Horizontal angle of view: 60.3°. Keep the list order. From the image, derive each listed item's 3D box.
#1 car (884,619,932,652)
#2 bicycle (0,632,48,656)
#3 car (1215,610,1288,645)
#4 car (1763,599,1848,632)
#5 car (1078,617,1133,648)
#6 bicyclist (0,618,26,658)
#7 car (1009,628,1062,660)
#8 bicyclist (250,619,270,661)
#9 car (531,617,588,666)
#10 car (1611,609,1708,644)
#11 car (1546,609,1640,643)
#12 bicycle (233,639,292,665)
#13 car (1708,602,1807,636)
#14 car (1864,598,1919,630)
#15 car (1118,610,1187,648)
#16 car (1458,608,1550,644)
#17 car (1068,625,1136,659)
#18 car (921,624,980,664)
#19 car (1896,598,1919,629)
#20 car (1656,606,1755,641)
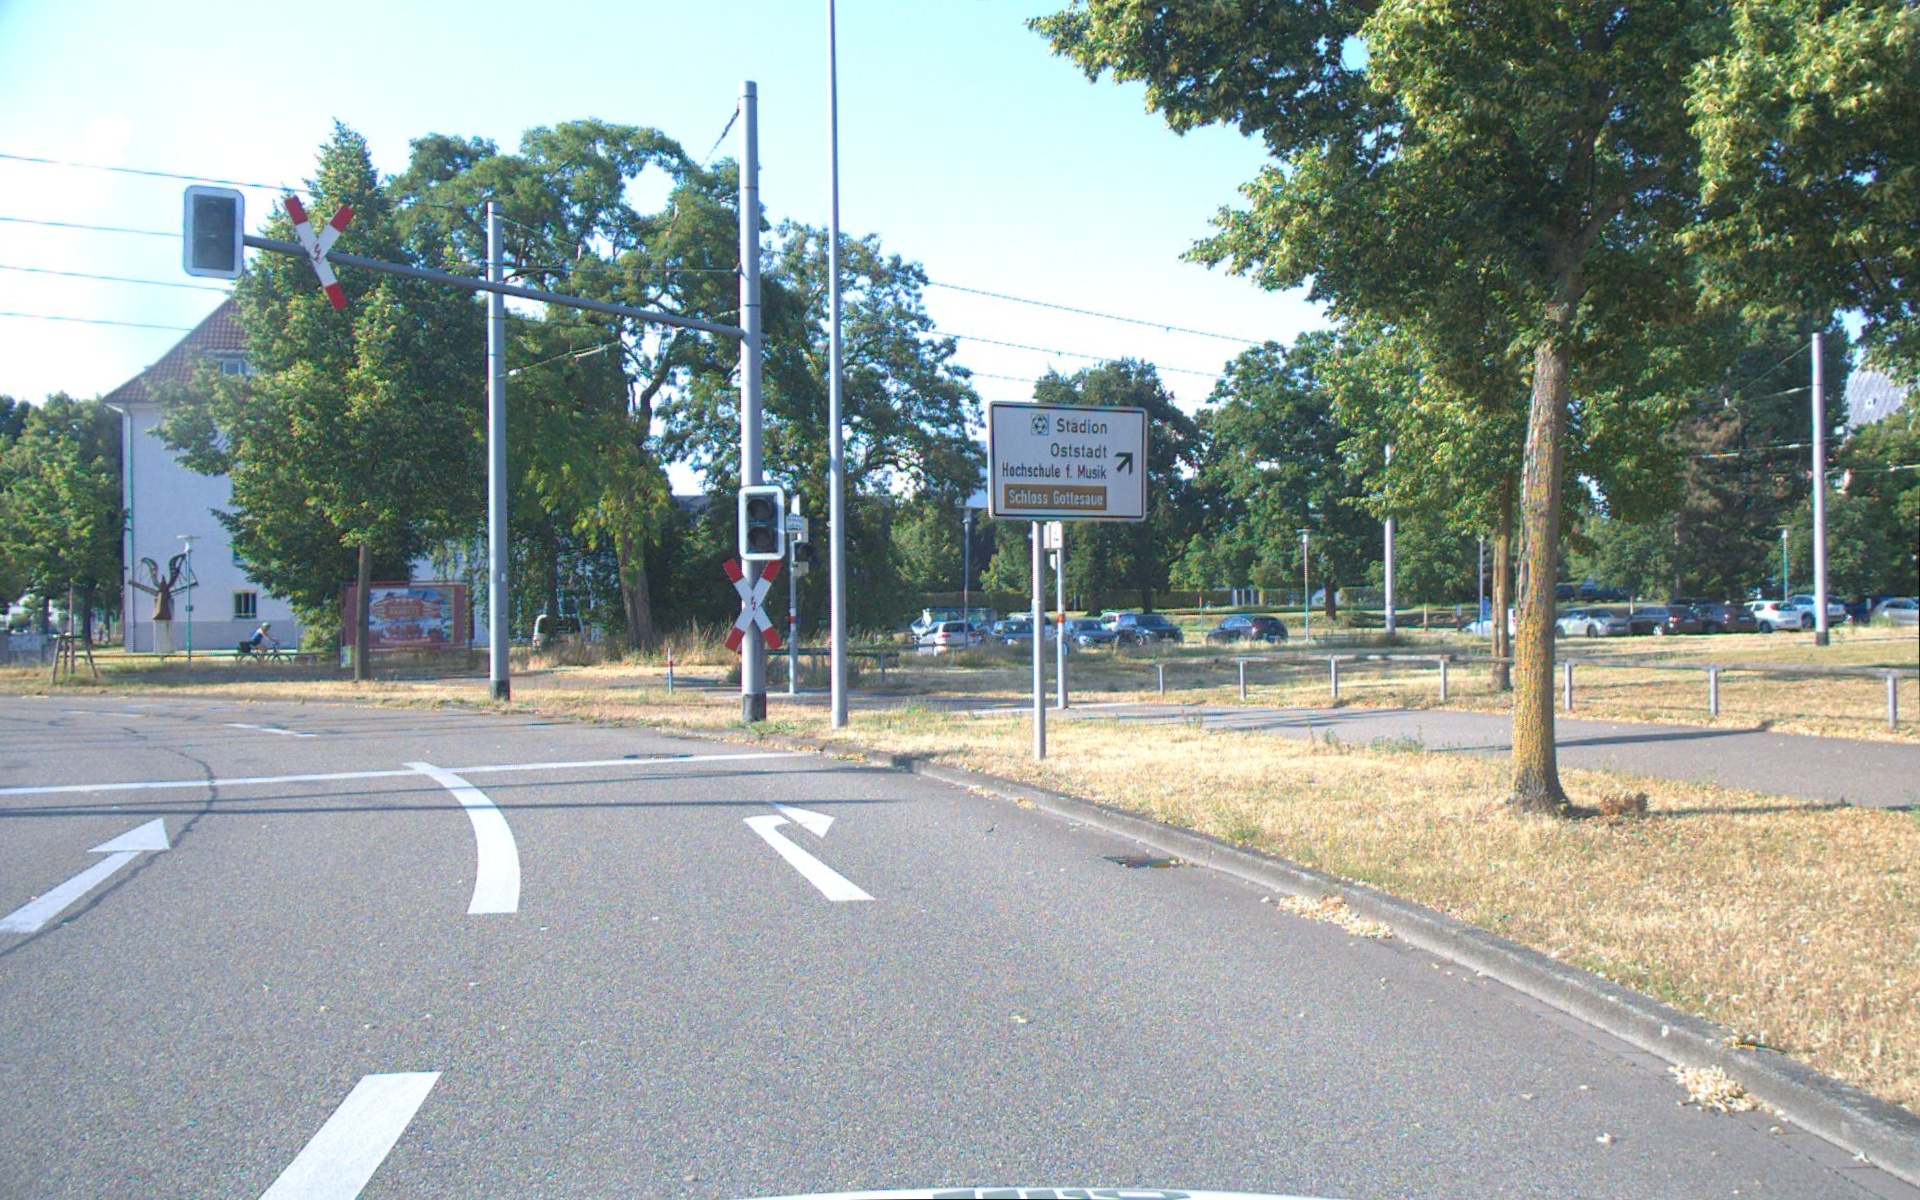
[{"bbox_3d":[-2.402,1.617,75.043,1.572,1.426,3.958,-1,-1,-11],"label":"car"},{"bbox_3d":[-33.764,1.577,59.148,0.423,0.839,1.979,-1,-1,45],"label":"bicycle"},{"bbox_3d":[11.629,1.114,66.138,1.572,1.333,3.958,-1,-1,-11],"label":"car"},{"bbox_3d":[44.725,0.841,87.548,1.791,1.701,3.983,-1,-1,-15],"label":"car"},{"bbox_3d":[6.894,1.546,78.631,1.572,1.426,3.958,-1,-1,-11],"label":"car"},{"bbox_3d":[-33.933,1.359,59.059,0.894,1.421,0.517,0,-1,-45],"label":"bicyclist"},{"bbox_3d":[3.471,2.011,76.340,1.572,1.426,3.958,-1,-1,-11],"label":"car"},{"bbox_3d":[-25.937,1.473,61.290,0.618,1.537,0.413,0,-1,-39],"label":"bicyclist"},{"bbox_3d":[-14.257,1.471,59.013,1.739,1.646,3.958,-1,-1,-11],"label":"car"},{"bbox_3d":[30.216,1.146,71.605,1.791,1.427,3.983,-1,-1,-15],"label":"car"},{"bbox_3d":[27.342,1.130,71.606,1.791,1.427,3.983,-1,-1,-15],"label":"car"},{"bbox_3d":[-25.855,1.918,61.353,1.974,0.934,0.424,0,-1,-40],"label":"bicycle"},{"bbox_3d":[35.289,0.869,73.305,1.791,1.427,3.983,-1,-1,-15],"label":"car"},{"bbox_3d":[43.357,0.637,75.061,1.791,1.427,3.983,-1,-1,-15],"label":"car"},{"bbox_3d":[7.548,1.138,65.094,1.572,1.426,3.958,-1,-1,-11],"label":"car"},{"bbox_3d":[22.902,1.114,69.816,1.791,1.427,3.983,-1,-1,-15],"label":"car"},{"bbox_3d":[5.373,1.598,63.049,1.572,1.242,3.958,-1,-1,-11],"label":"car"},{"bbox_3d":[-0.389,1.671,63.400,1.572,1.426,3.958,-1,-1,-11],"label":"car"},{"bbox_3d":[45.511,0.580,76.255,1.791,1.427,3.983,-1,-1,-15],"label":"car"},{"bbox_3d":[32.398,1.029,72.007,1.791,1.427,3.983,-1,-1,-15],"label":"car"}]
